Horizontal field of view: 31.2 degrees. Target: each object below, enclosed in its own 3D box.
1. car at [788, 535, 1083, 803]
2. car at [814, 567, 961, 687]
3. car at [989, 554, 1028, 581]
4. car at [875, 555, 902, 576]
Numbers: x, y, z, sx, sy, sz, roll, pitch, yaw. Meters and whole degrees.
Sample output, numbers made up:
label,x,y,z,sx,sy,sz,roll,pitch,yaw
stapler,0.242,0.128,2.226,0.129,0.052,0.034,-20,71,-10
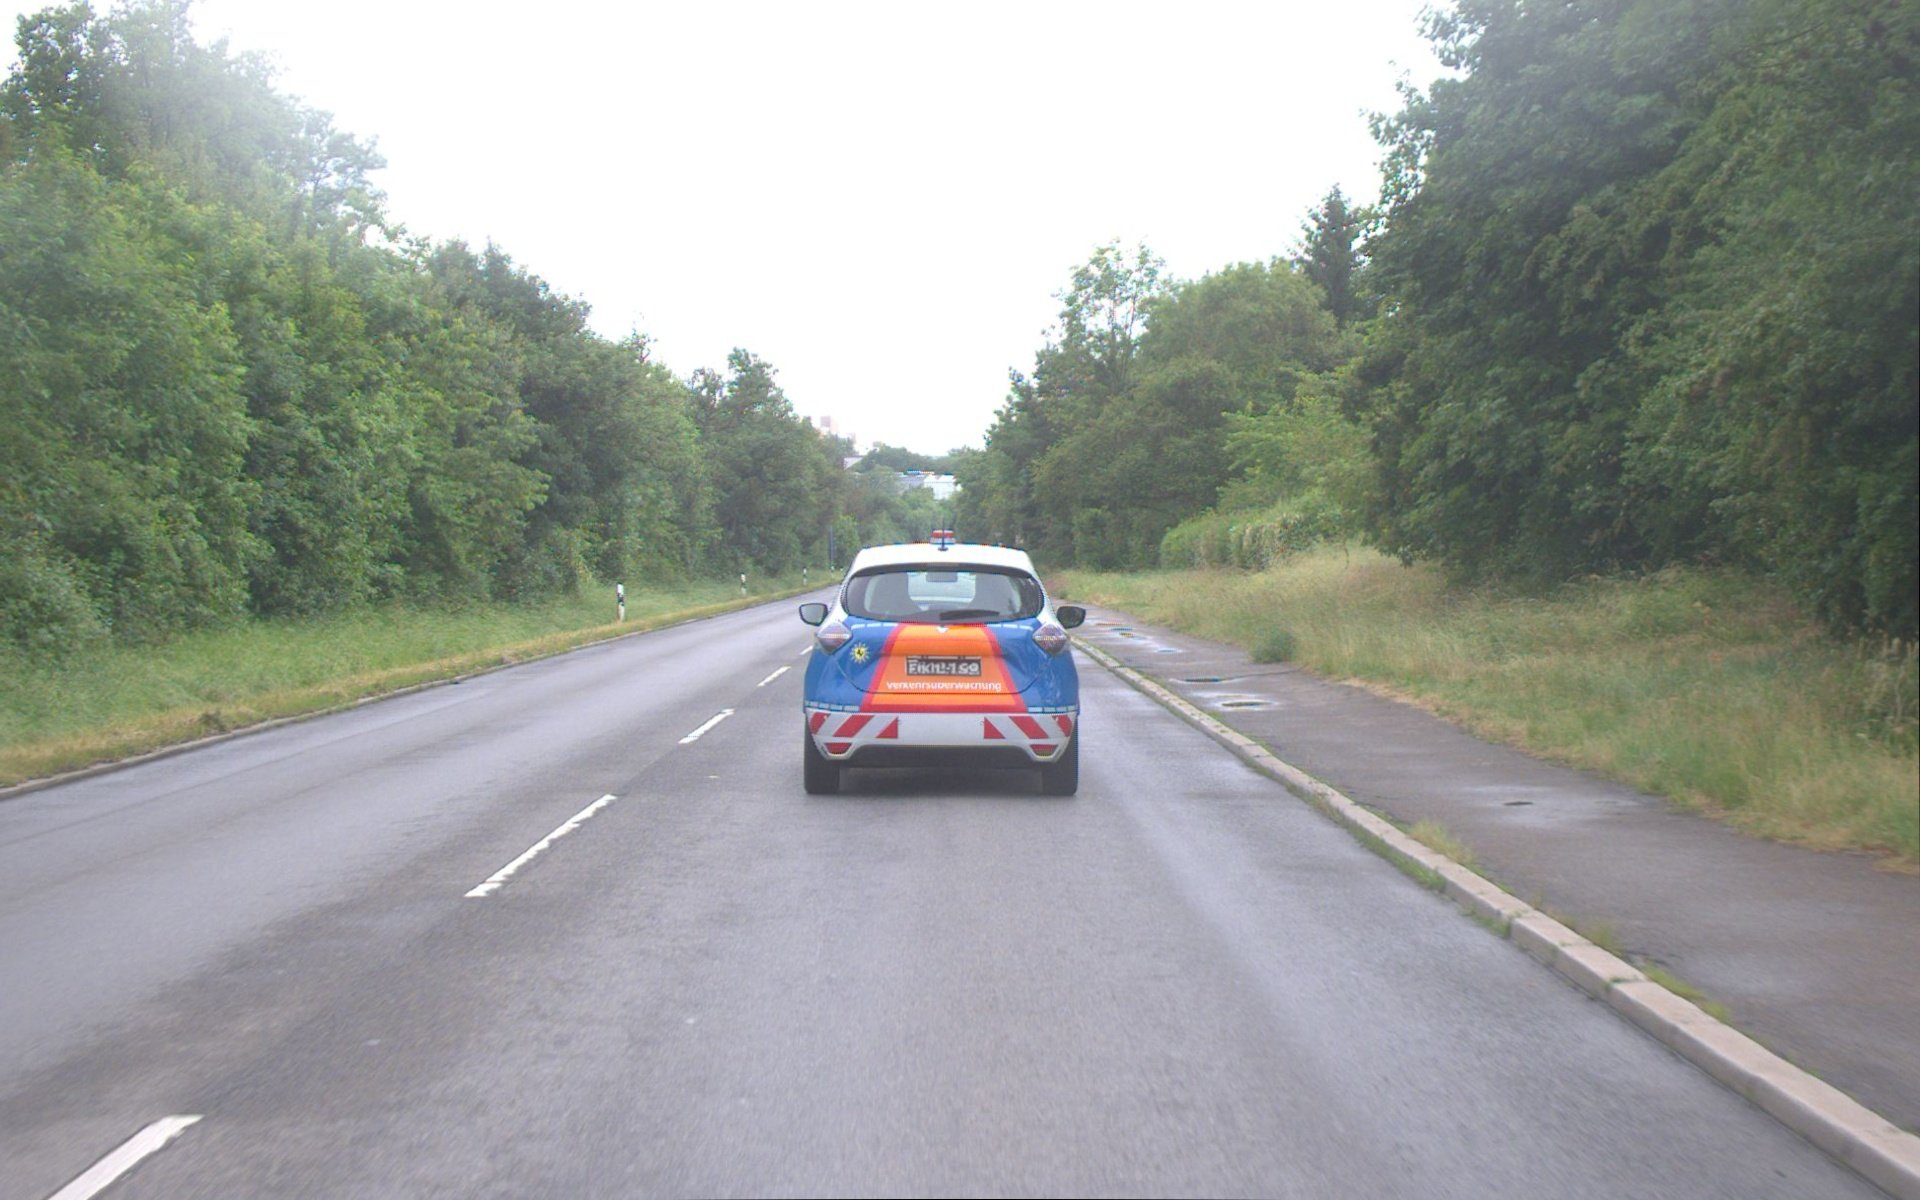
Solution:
label,x,y,z,sx,sy,sz,roll,pitch,yaw
car,-0.163,0.374,22.405,1.752,1.550,3.793,0,2,0
car,-0.808,0.283,40.073,1.598,1.282,3.476,-1,1,0
car,2.560,-1.724,182.336,1.993,1.371,4.000,-1,1,0
car,-5.286,-2.559,253.801,1.905,1.551,4.516,-1,1,-1
